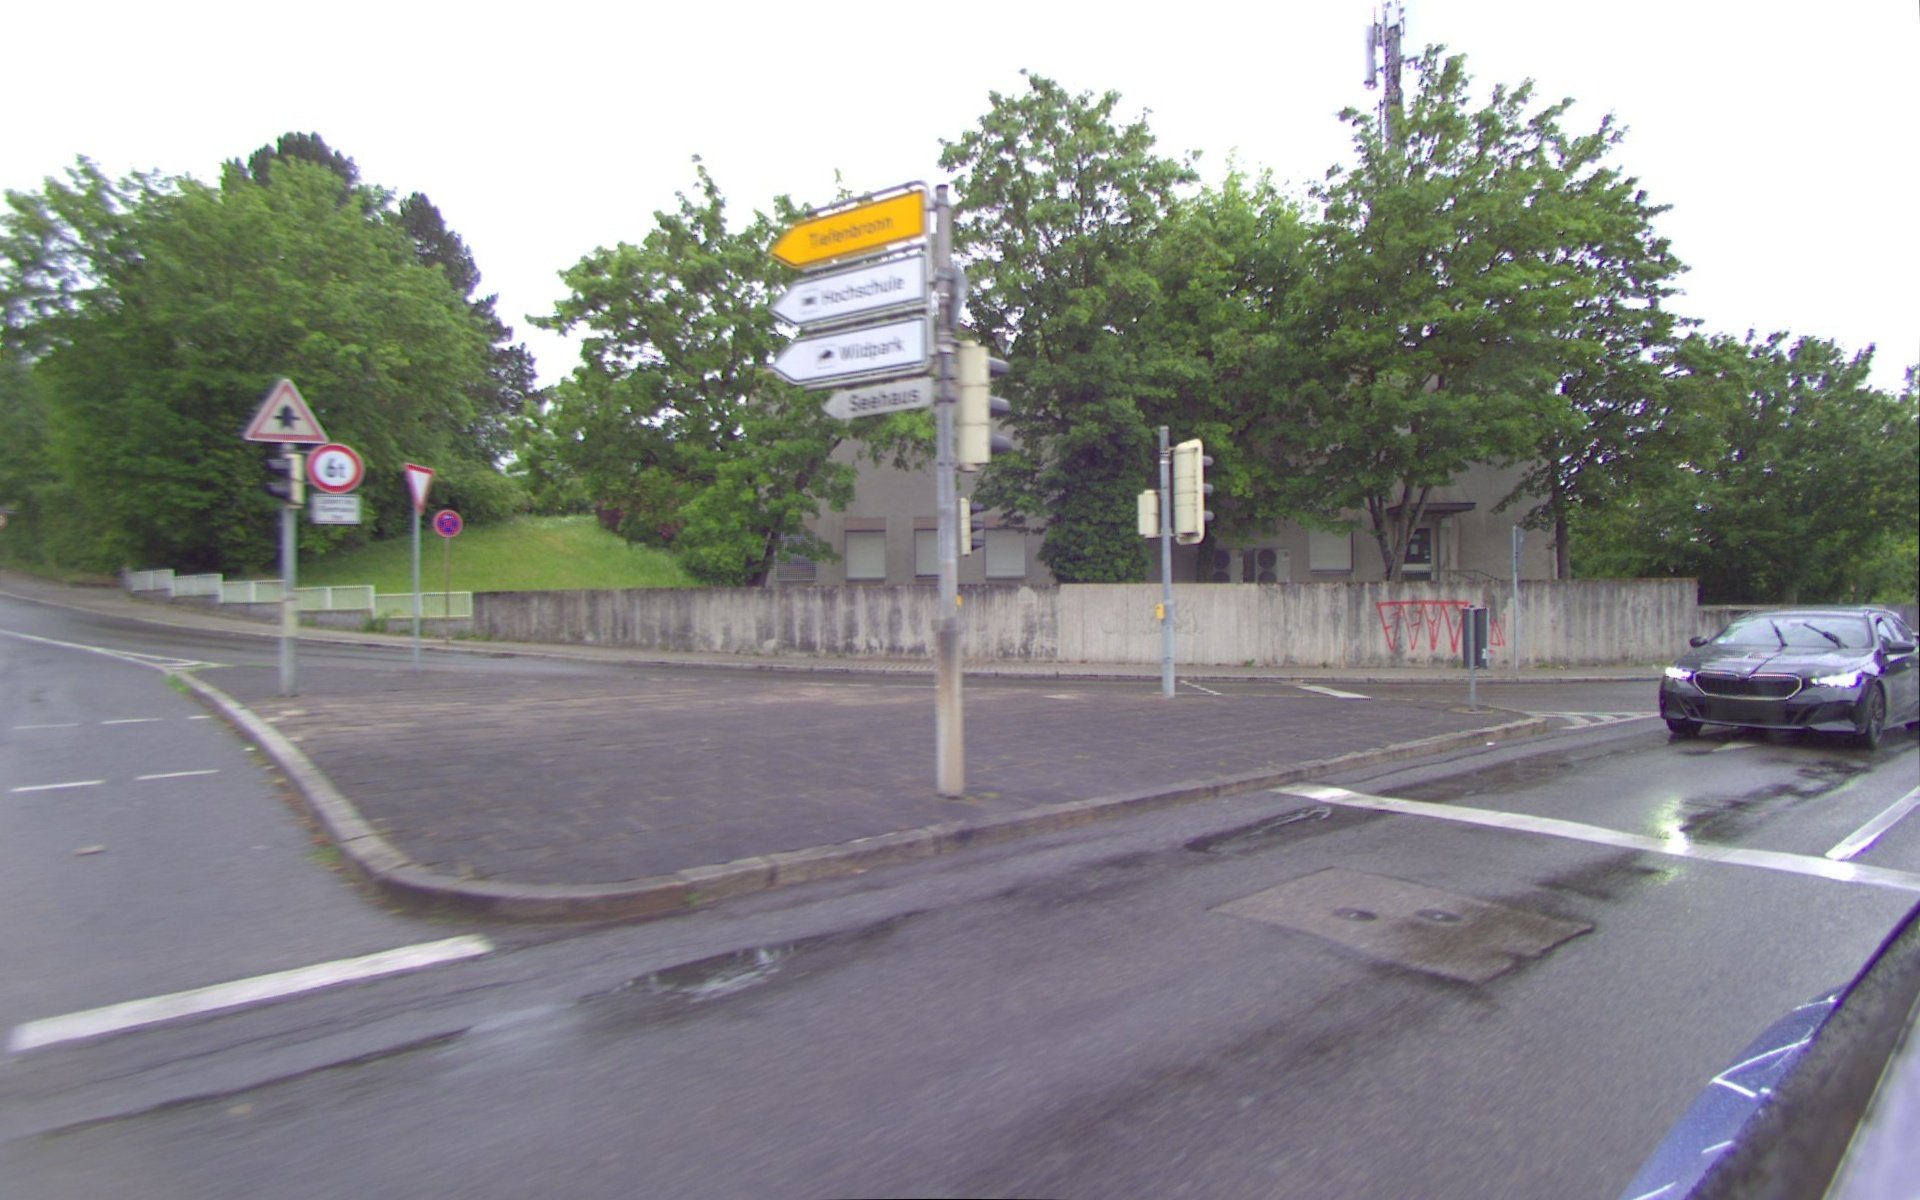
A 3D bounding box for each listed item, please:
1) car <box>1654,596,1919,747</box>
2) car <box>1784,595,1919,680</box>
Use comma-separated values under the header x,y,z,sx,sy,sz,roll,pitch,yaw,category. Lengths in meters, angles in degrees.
x,y,z,sx,sy,sz,roll,pitch,yaw,category
10.308,0.718,12.145,4.690,1.477,1.910,0,-1,-37,car
19.162,0.749,21.182,4.171,1.624,1.795,0,-2,-34,car
